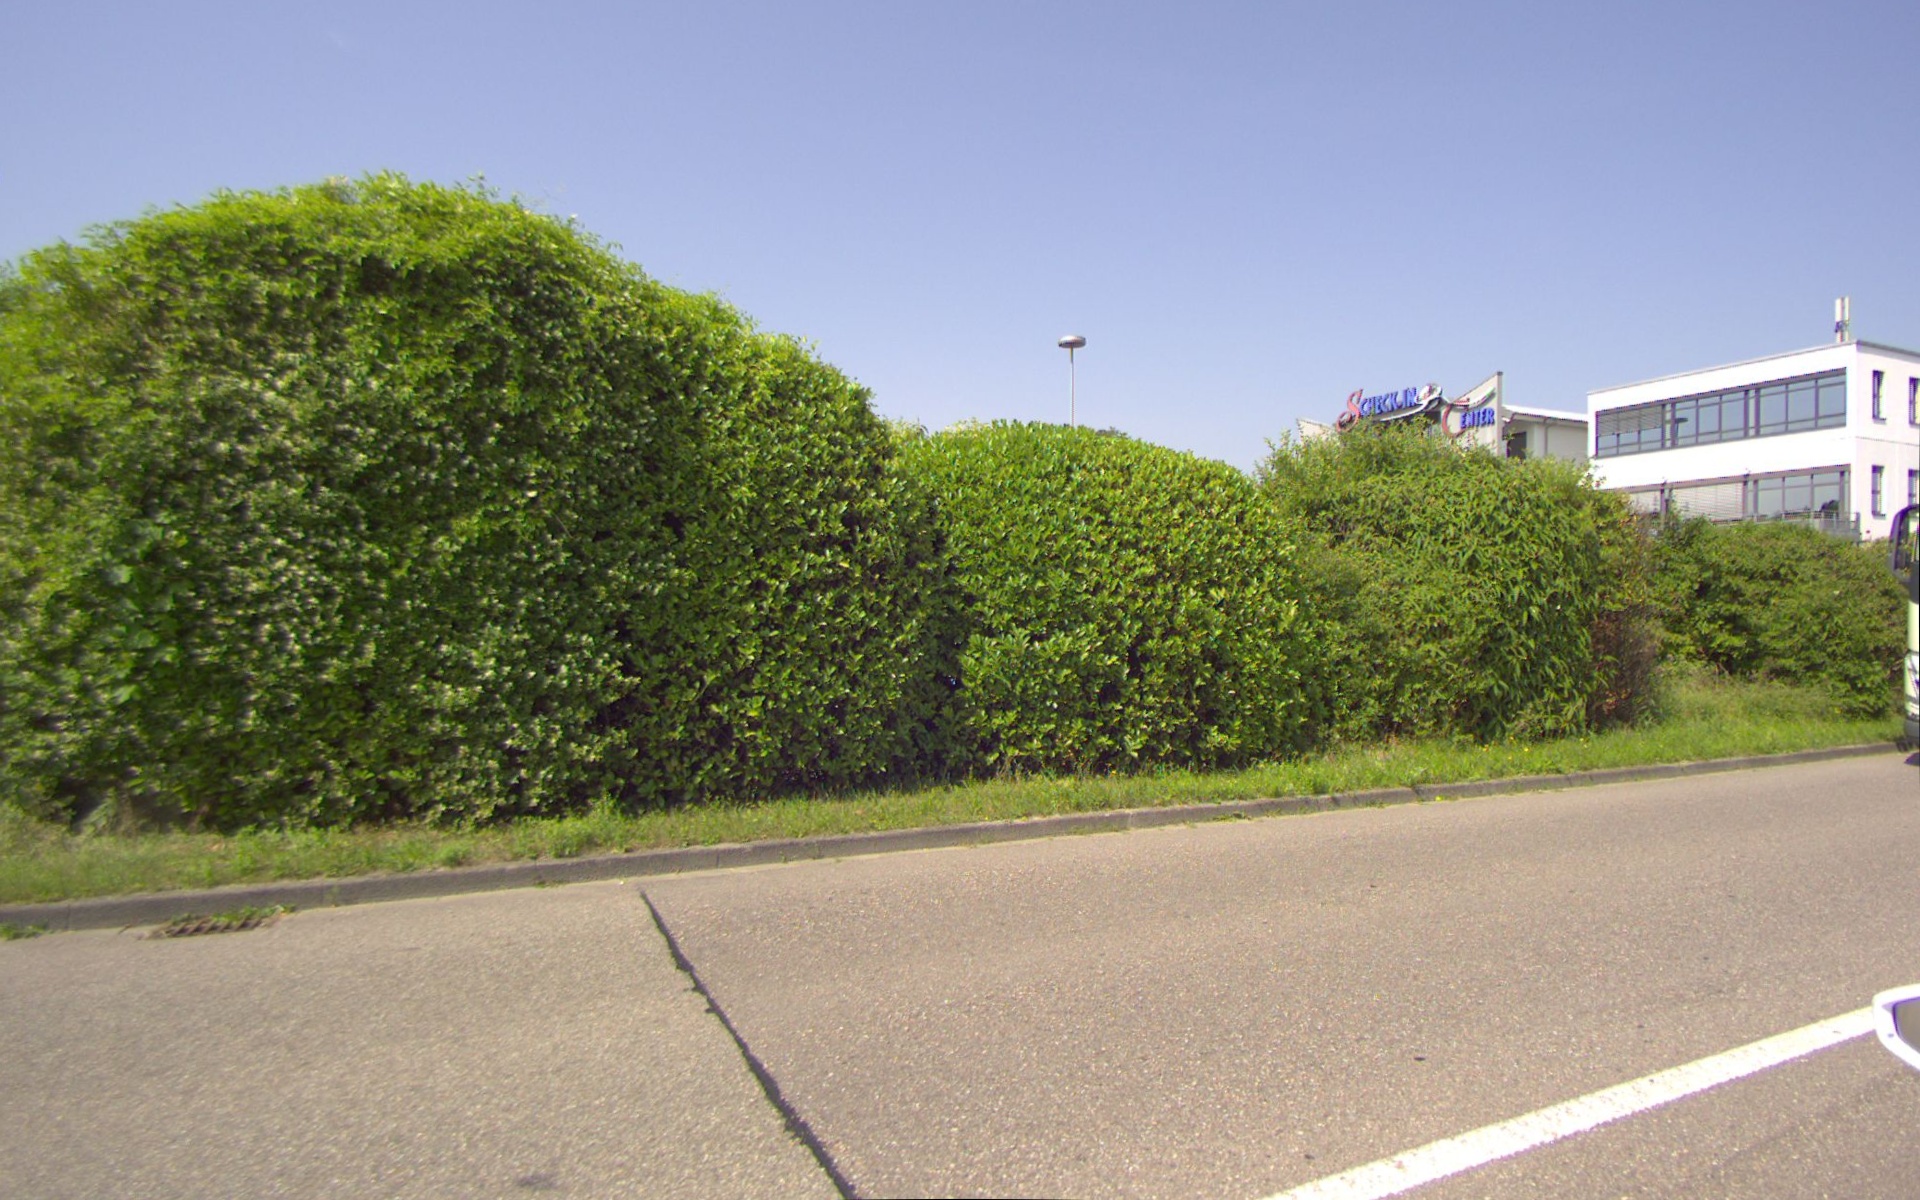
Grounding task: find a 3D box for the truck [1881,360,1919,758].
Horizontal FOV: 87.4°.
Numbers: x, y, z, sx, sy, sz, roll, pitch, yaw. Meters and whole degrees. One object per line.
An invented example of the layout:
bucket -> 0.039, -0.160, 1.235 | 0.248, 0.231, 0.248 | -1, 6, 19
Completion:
truck -> 13.463, -0.380, 11.433 | 6.036, 4.314, 2.503 | 1, -1, -28
